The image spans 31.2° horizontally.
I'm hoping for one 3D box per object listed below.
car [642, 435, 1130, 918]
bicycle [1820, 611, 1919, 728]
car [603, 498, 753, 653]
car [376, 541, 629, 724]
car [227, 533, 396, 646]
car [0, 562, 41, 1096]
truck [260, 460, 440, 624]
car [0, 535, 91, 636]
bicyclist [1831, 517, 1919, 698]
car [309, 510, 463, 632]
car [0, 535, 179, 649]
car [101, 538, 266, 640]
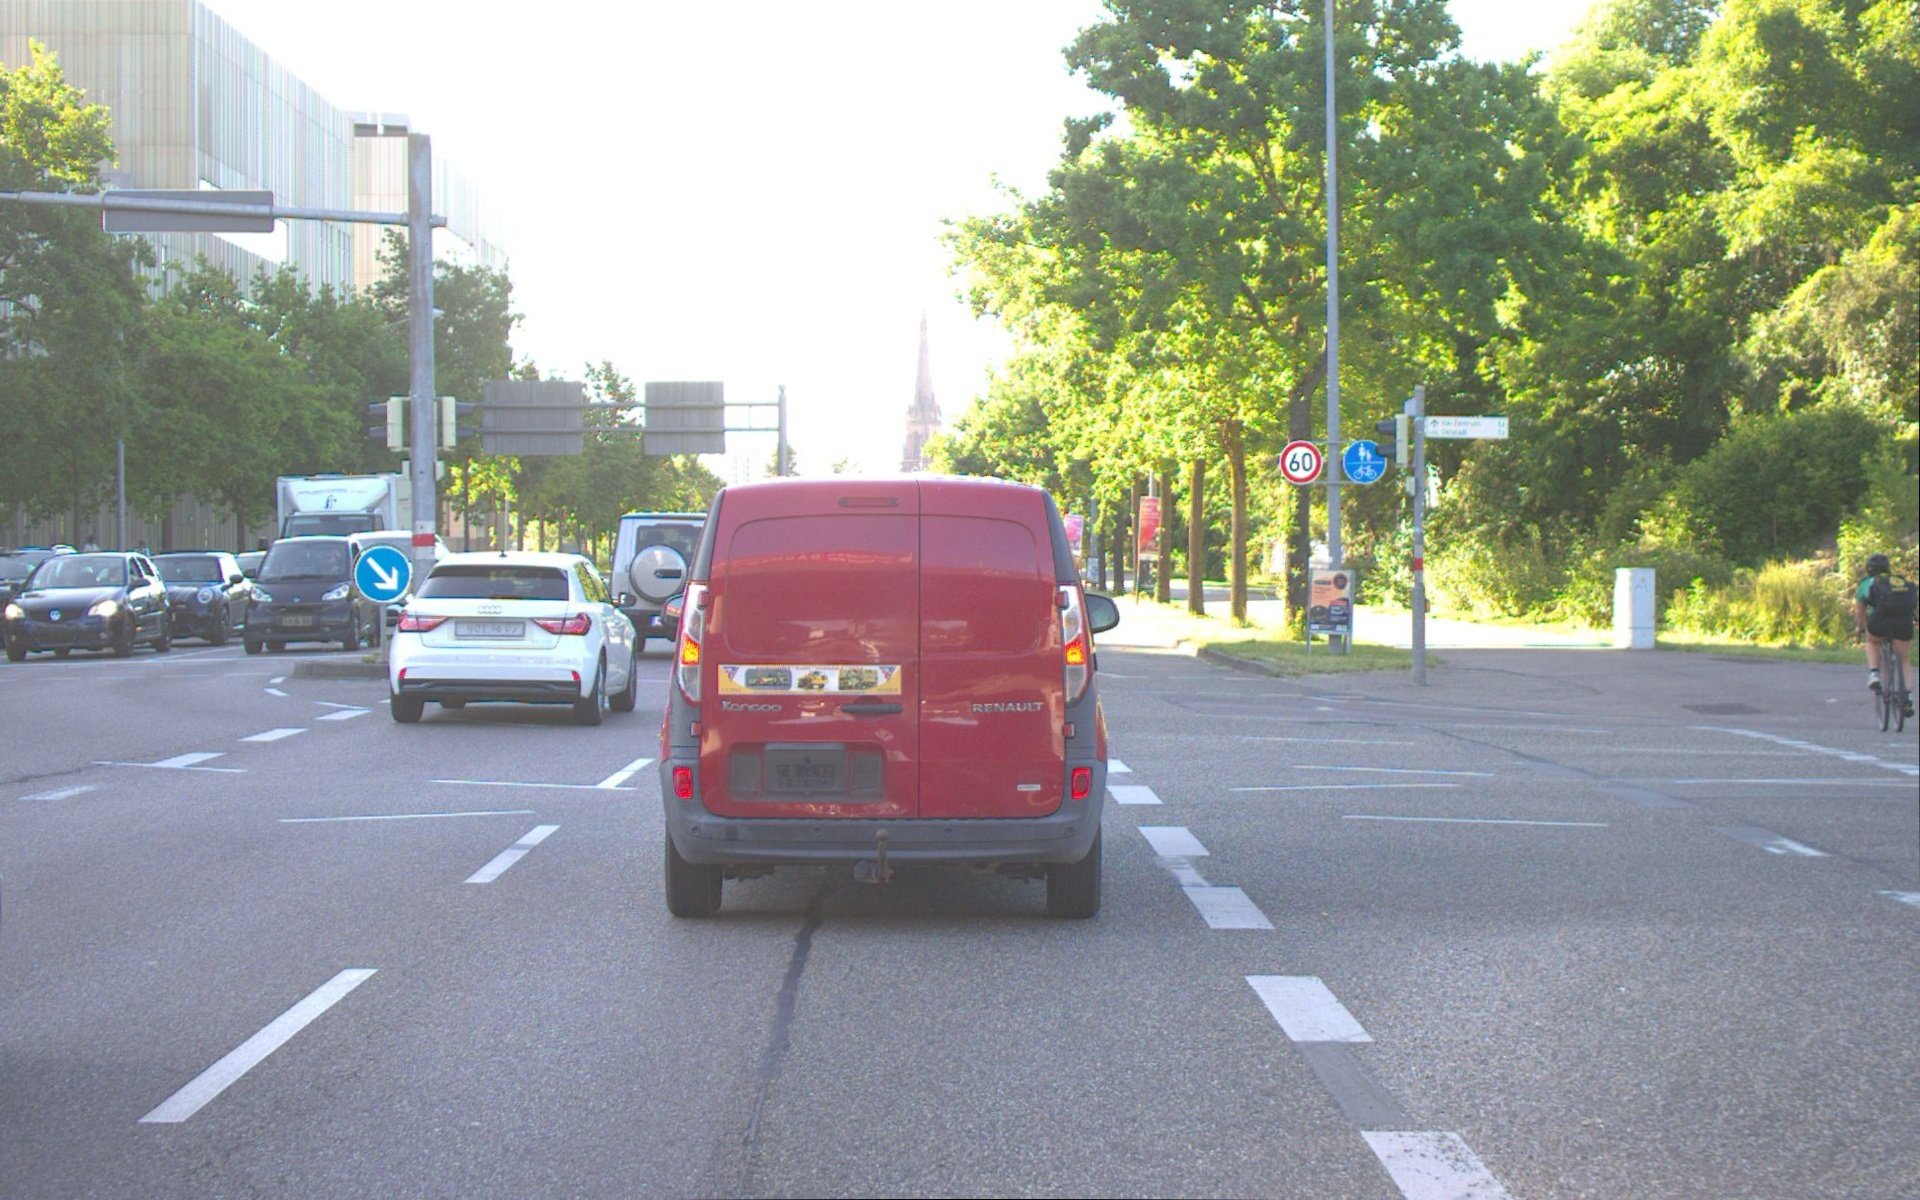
[{"bbox_3d":[-0.346,0.318,15.000,1.805,1.788,4.000,1,-1,-2],"label":"car"},{"bbox_3d":[8.320,0.626,31.188,0.592,1.020,1.750,1,-1,0],"label":"bicycle"},{"bbox_3d":[-3.820,-0.287,47.244,1.801,1.982,4.589,1,-1,-2],"label":"car"},{"bbox_3d":[-3.827,0.244,29.276,1.813,1.433,3.731,1,0,-3],"label":"car"},{"bbox_3d":[-8.862,-0.148,47.215,1.636,1.438,3.719,-2,0,-1],"label":"car"},{"bbox_3d":[-3.507,0.633,7.719,1.733,1.475,4.319,0,0,0],"label":"car"},{"bbox_3d":[-12.022,-1.106,68.259,2.409,3.016,6.657,-2,0,-1],"label":"truck"},{"bbox_3d":[-15.185,-0.207,54.631,1.646,1.540,4.398,-2,0,-1],"label":"car"},{"bbox_3d":[8.317,0.075,31.128,0.592,1.608,0.942,1,-1,0],"label":"bicyclist"},{"bbox_3d":[-8.999,-0.452,54.164,1.757,1.790,4.083,-2,0,-1],"label":"car"},{"bbox_3d":[-11.951,-0.108,47.004,1.636,1.438,4.077,-2,0,-1],"label":"car"},{"bbox_3d":[-11.780,-0.163,52.381,1.636,1.438,4.077,-2,0,-1],"label":"car"}]
